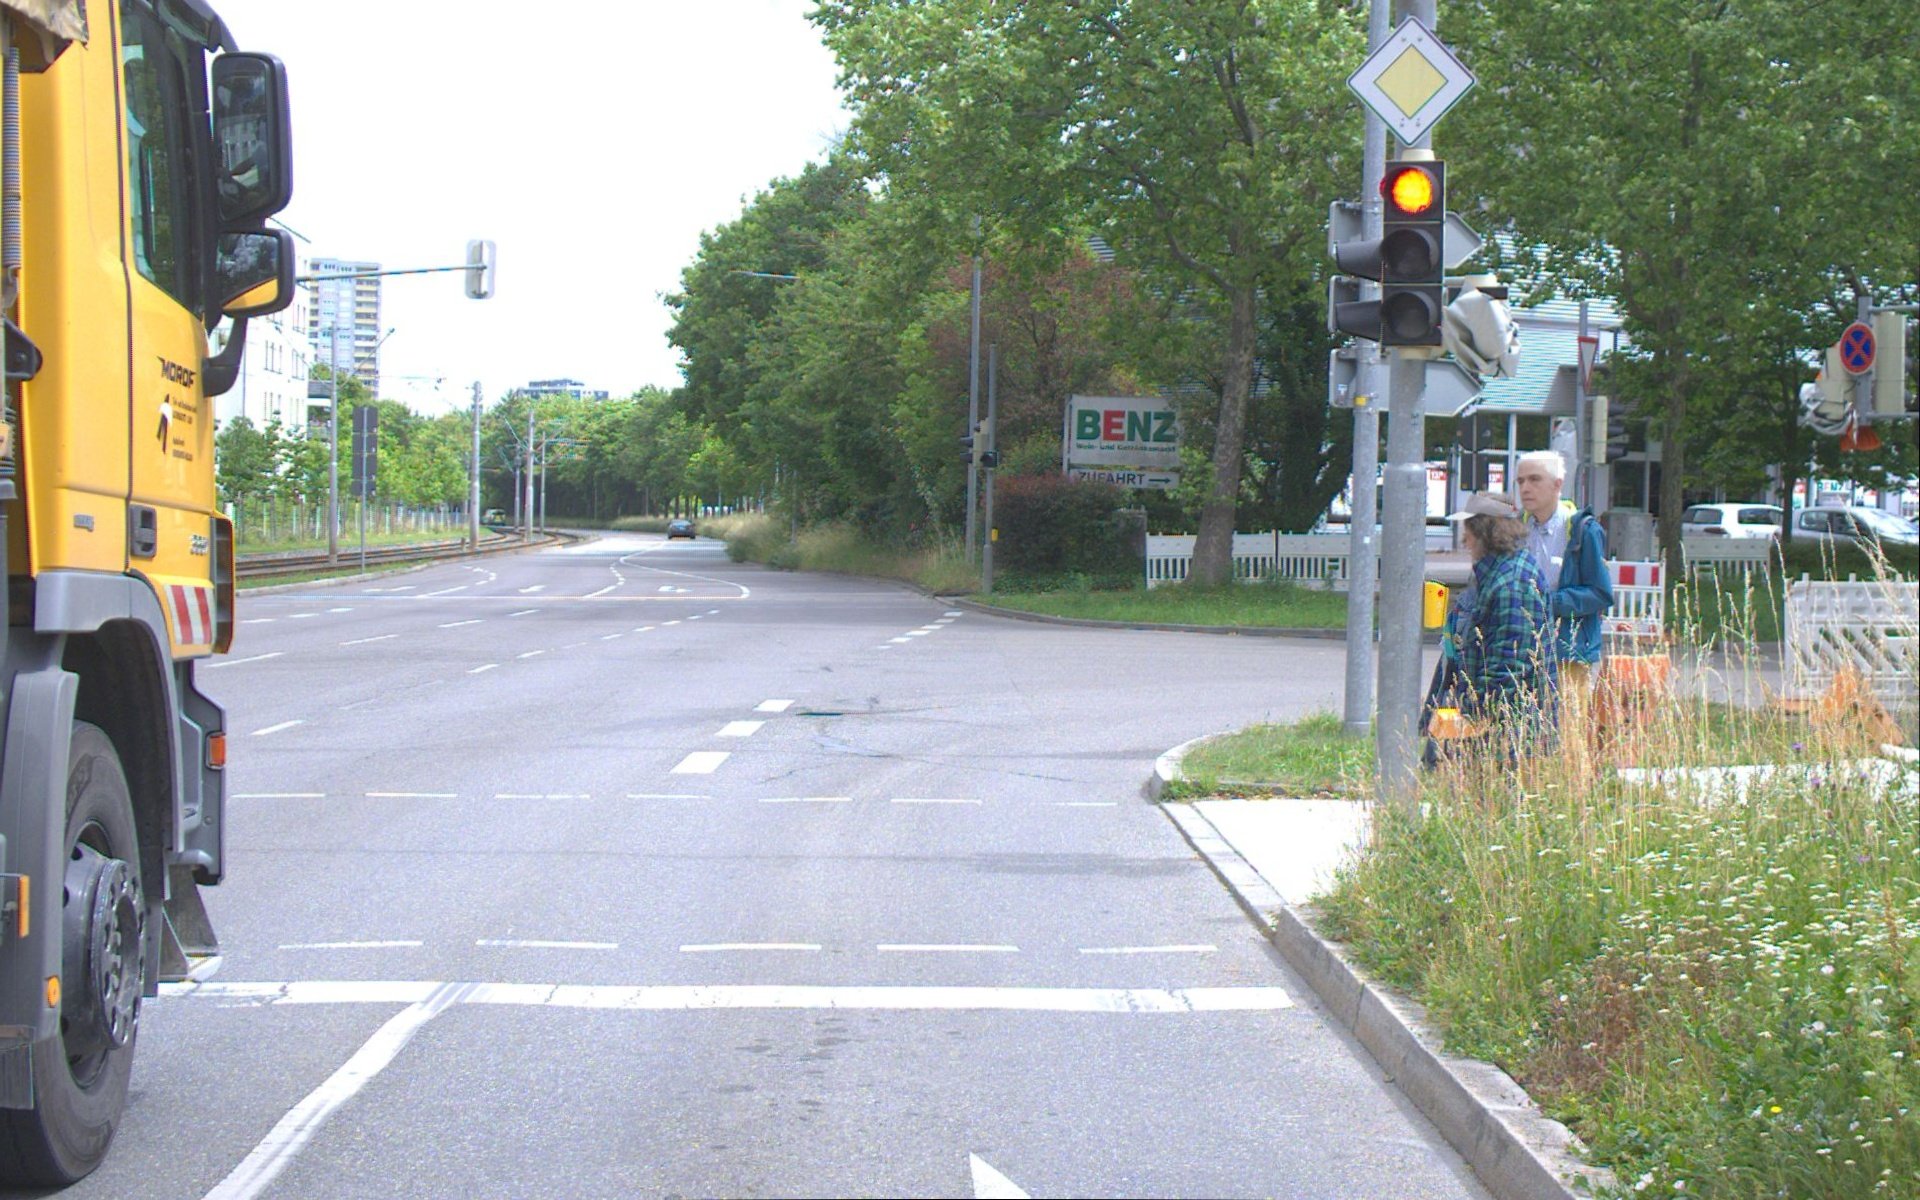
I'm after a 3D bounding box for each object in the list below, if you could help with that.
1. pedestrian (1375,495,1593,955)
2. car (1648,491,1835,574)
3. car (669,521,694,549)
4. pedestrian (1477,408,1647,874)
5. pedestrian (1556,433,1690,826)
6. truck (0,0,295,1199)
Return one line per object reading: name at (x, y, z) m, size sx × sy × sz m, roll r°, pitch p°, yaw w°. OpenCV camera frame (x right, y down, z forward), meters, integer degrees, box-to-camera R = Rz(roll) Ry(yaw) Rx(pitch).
pedestrian at (1.948, 0.445, 12.761) m, size 0.628 × 1.647 × 0.562 m, roll 1°, pitch 1°, yaw 26°
car at (17.575, -1.521, 77.257) m, size 3.988 × 1.776 × 2.000 m, roll 0°, pitch 2°, yaw -38°
car at (-19.703, -4.585, 243.038) m, size 1.689 × 1.919 × 4.001 m, roll 1°, pitch 2°, yaw -5°
pedestrian at (2.644, 0.177, 15.131) m, size 0.561 × 2.007 × 0.492 m, roll 1°, pitch 1°, yaw -10°
pedestrian at (3.436, 0.149, 17.834) m, size 0.499 × 2.007 × 0.492 m, roll 1°, pitch 1°, yaw -10°
truck at (-3.142, -0.269, 5.198) m, size 2.753 × 3.302 × 8.353 m, roll 1°, pitch 2°, yaw -1°
